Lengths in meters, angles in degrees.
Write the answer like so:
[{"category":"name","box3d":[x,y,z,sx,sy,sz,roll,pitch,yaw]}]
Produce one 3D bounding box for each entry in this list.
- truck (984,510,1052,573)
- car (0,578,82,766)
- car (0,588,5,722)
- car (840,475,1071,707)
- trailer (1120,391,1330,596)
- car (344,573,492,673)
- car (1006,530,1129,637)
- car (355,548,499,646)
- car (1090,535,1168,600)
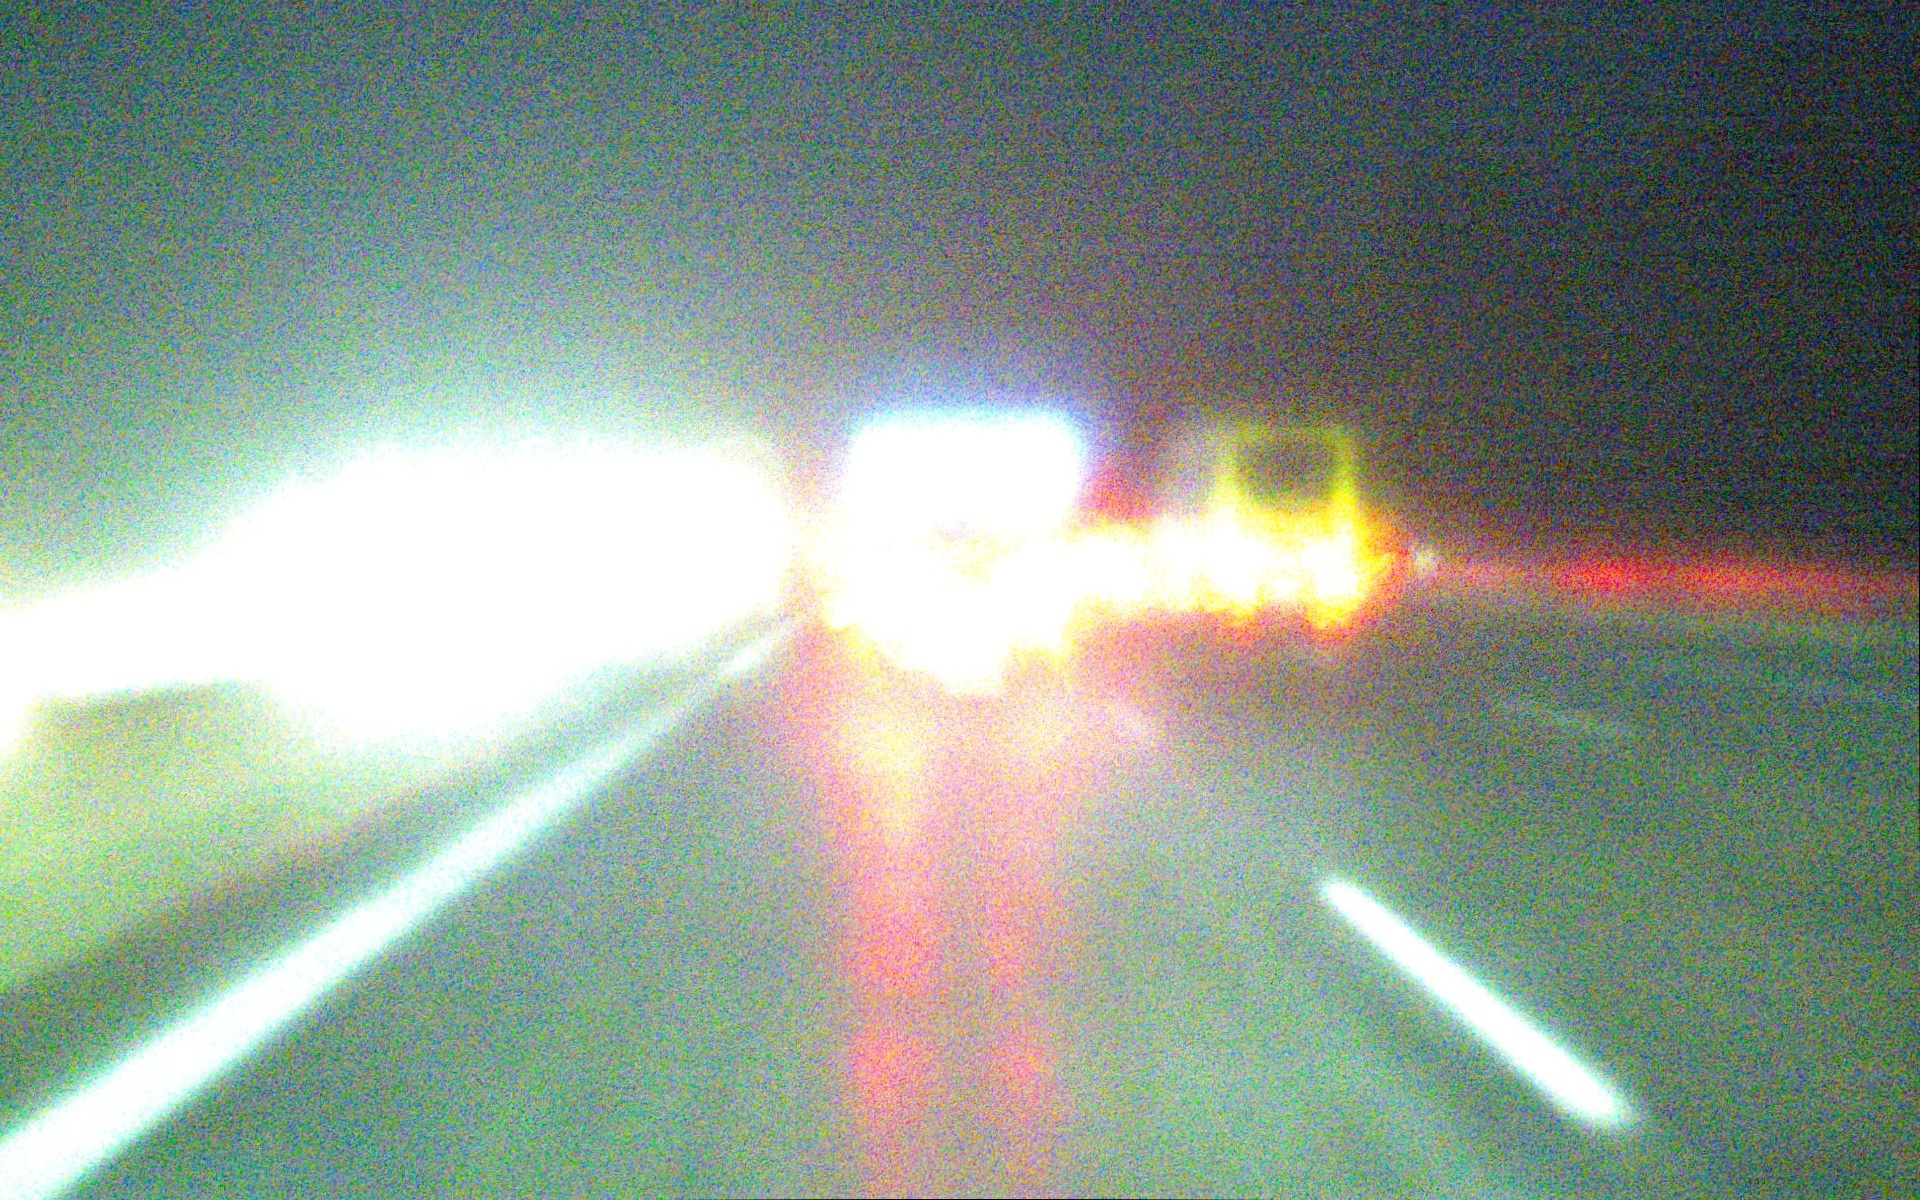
[{"category":"truck","box3d":[3.119,-3.176,188.616,3.037,3.286,11.382,-2,1,-2]},{"category":"car","box3d":[-9.534,0.671,31.499,1.916,1.678,4.000,-2,0,0]},{"category":"car","box3d":[-13.046,0.728,41.217,1.916,1.678,4.506,-2,0,0]},{"category":"car","box3d":[-0.096,-0.092,32.157,1.993,2.007,4.000,1,0,-2]},{"category":"trailer","box3d":[5.739,-2.250,77.168,3.041,4.094,13.830,-2,1,-2]},{"category":"car","box3d":[-9.680,0.389,61.739,1.916,1.678,4.506,-2,0,0]},{"category":"car","box3d":[2.101,-0.339,68.298,1.993,2.007,4.001,-2,1,-4]},{"category":"car","box3d":[-9.743,-0.064,63.145,1.916,1.678,4.506,-2,0,0]},{"category":"car","box3d":[5.488,-1.052,111.997,1.993,2.007,4.001,-2,1,-4]}]
